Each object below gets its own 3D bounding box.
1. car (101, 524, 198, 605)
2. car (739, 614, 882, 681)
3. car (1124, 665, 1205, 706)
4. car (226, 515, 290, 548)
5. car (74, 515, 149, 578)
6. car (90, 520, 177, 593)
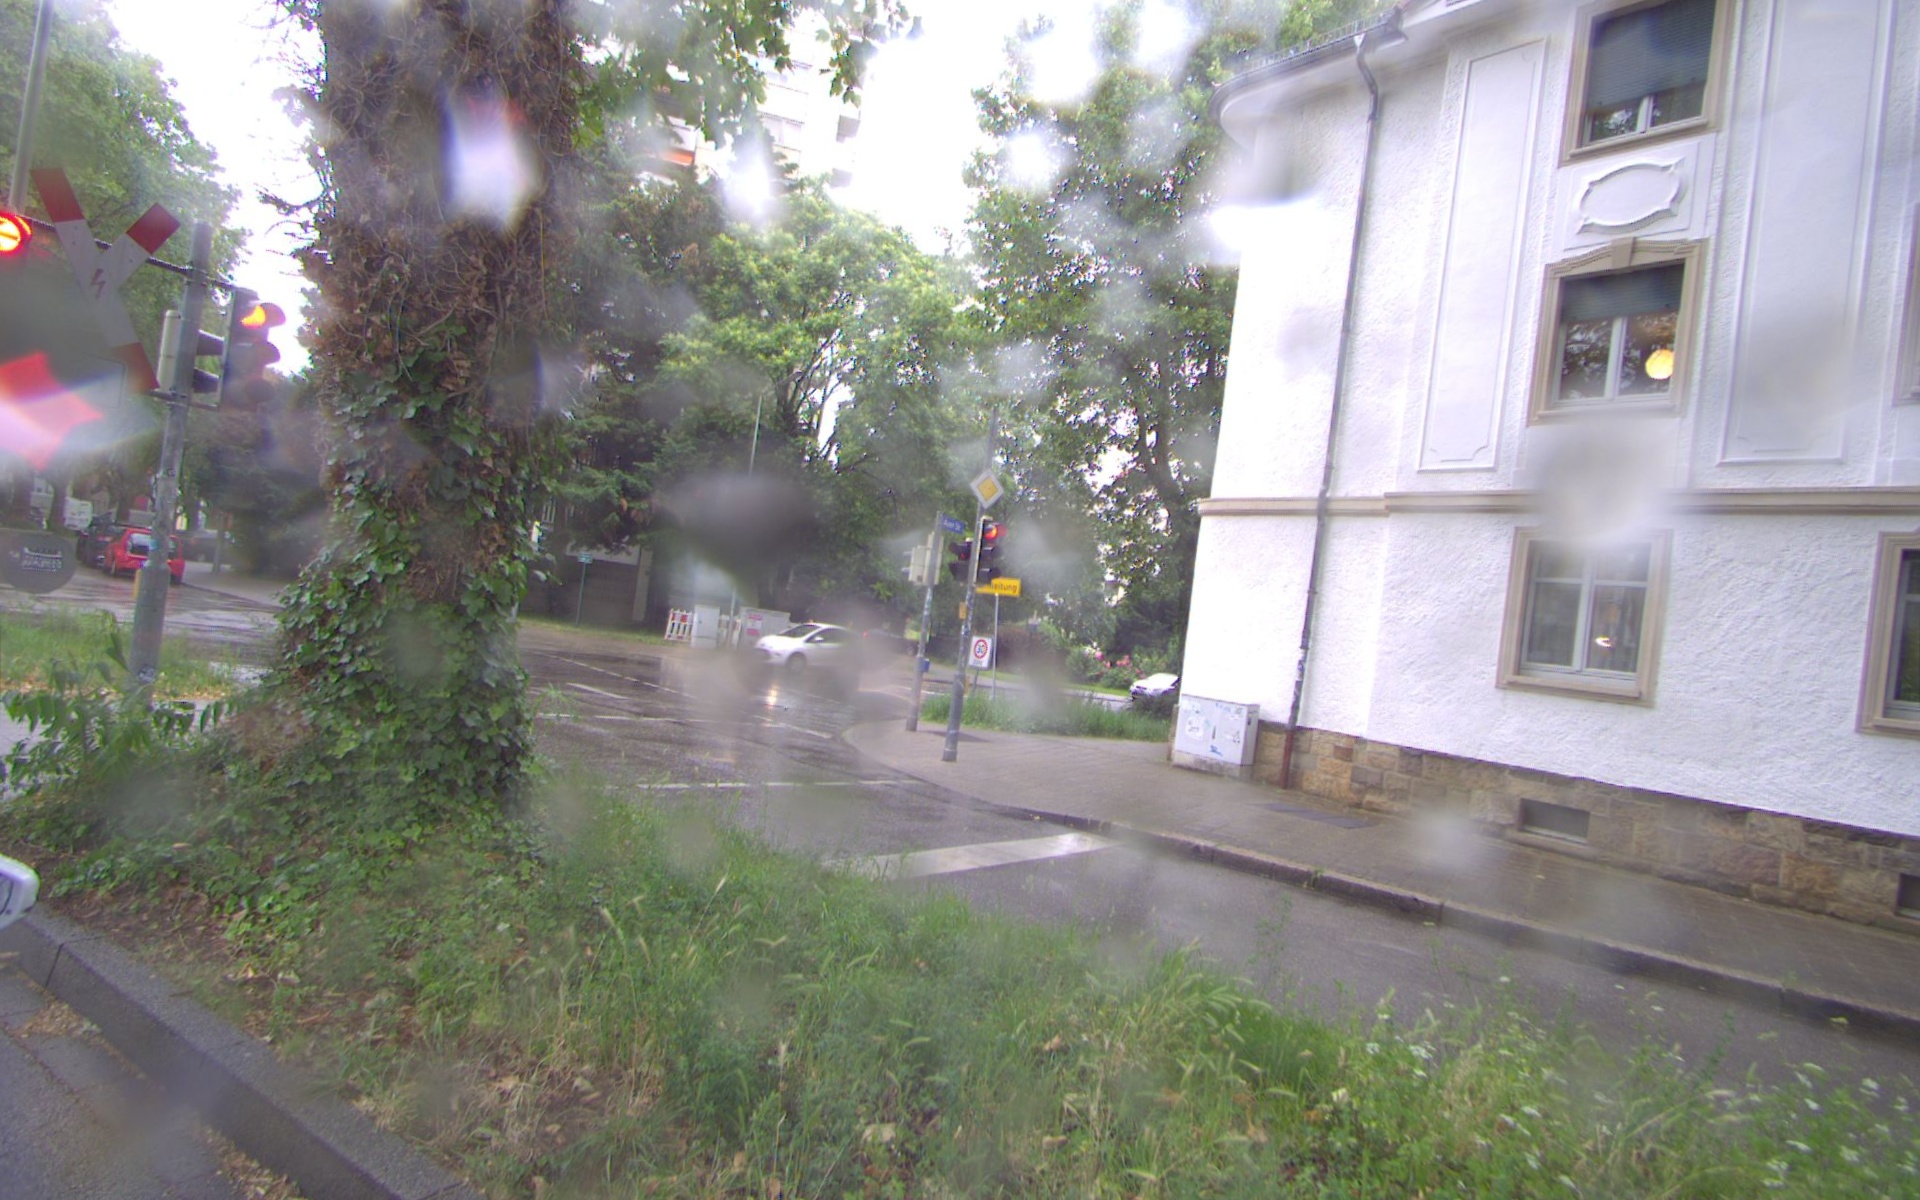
[{"bbox_3d":[-24.751,-1.114,30.666,1.986,2.038,3.953,7,0,-42],"label":"car"},{"bbox_3d":[-4.228,1.375,28.810,3.631,1.504,1.703,8,0,-44],"label":"car"},{"bbox_3d":[9.301,3.891,45.646,3.630,1.504,1.704,8,0,-43],"label":"car"},{"bbox_3d":[-57.150,-5.553,81.921,3.969,2.038,1.689,7,0,-39],"label":"car"},{"bbox_3d":[-32.800,-2.078,38.852,1.986,2.038,3.953,7,0,-42],"label":"car"},{"bbox_3d":[-28.103,-1.504,34.162,1.986,2.038,3.953,7,0,-42],"label":"car"}]
